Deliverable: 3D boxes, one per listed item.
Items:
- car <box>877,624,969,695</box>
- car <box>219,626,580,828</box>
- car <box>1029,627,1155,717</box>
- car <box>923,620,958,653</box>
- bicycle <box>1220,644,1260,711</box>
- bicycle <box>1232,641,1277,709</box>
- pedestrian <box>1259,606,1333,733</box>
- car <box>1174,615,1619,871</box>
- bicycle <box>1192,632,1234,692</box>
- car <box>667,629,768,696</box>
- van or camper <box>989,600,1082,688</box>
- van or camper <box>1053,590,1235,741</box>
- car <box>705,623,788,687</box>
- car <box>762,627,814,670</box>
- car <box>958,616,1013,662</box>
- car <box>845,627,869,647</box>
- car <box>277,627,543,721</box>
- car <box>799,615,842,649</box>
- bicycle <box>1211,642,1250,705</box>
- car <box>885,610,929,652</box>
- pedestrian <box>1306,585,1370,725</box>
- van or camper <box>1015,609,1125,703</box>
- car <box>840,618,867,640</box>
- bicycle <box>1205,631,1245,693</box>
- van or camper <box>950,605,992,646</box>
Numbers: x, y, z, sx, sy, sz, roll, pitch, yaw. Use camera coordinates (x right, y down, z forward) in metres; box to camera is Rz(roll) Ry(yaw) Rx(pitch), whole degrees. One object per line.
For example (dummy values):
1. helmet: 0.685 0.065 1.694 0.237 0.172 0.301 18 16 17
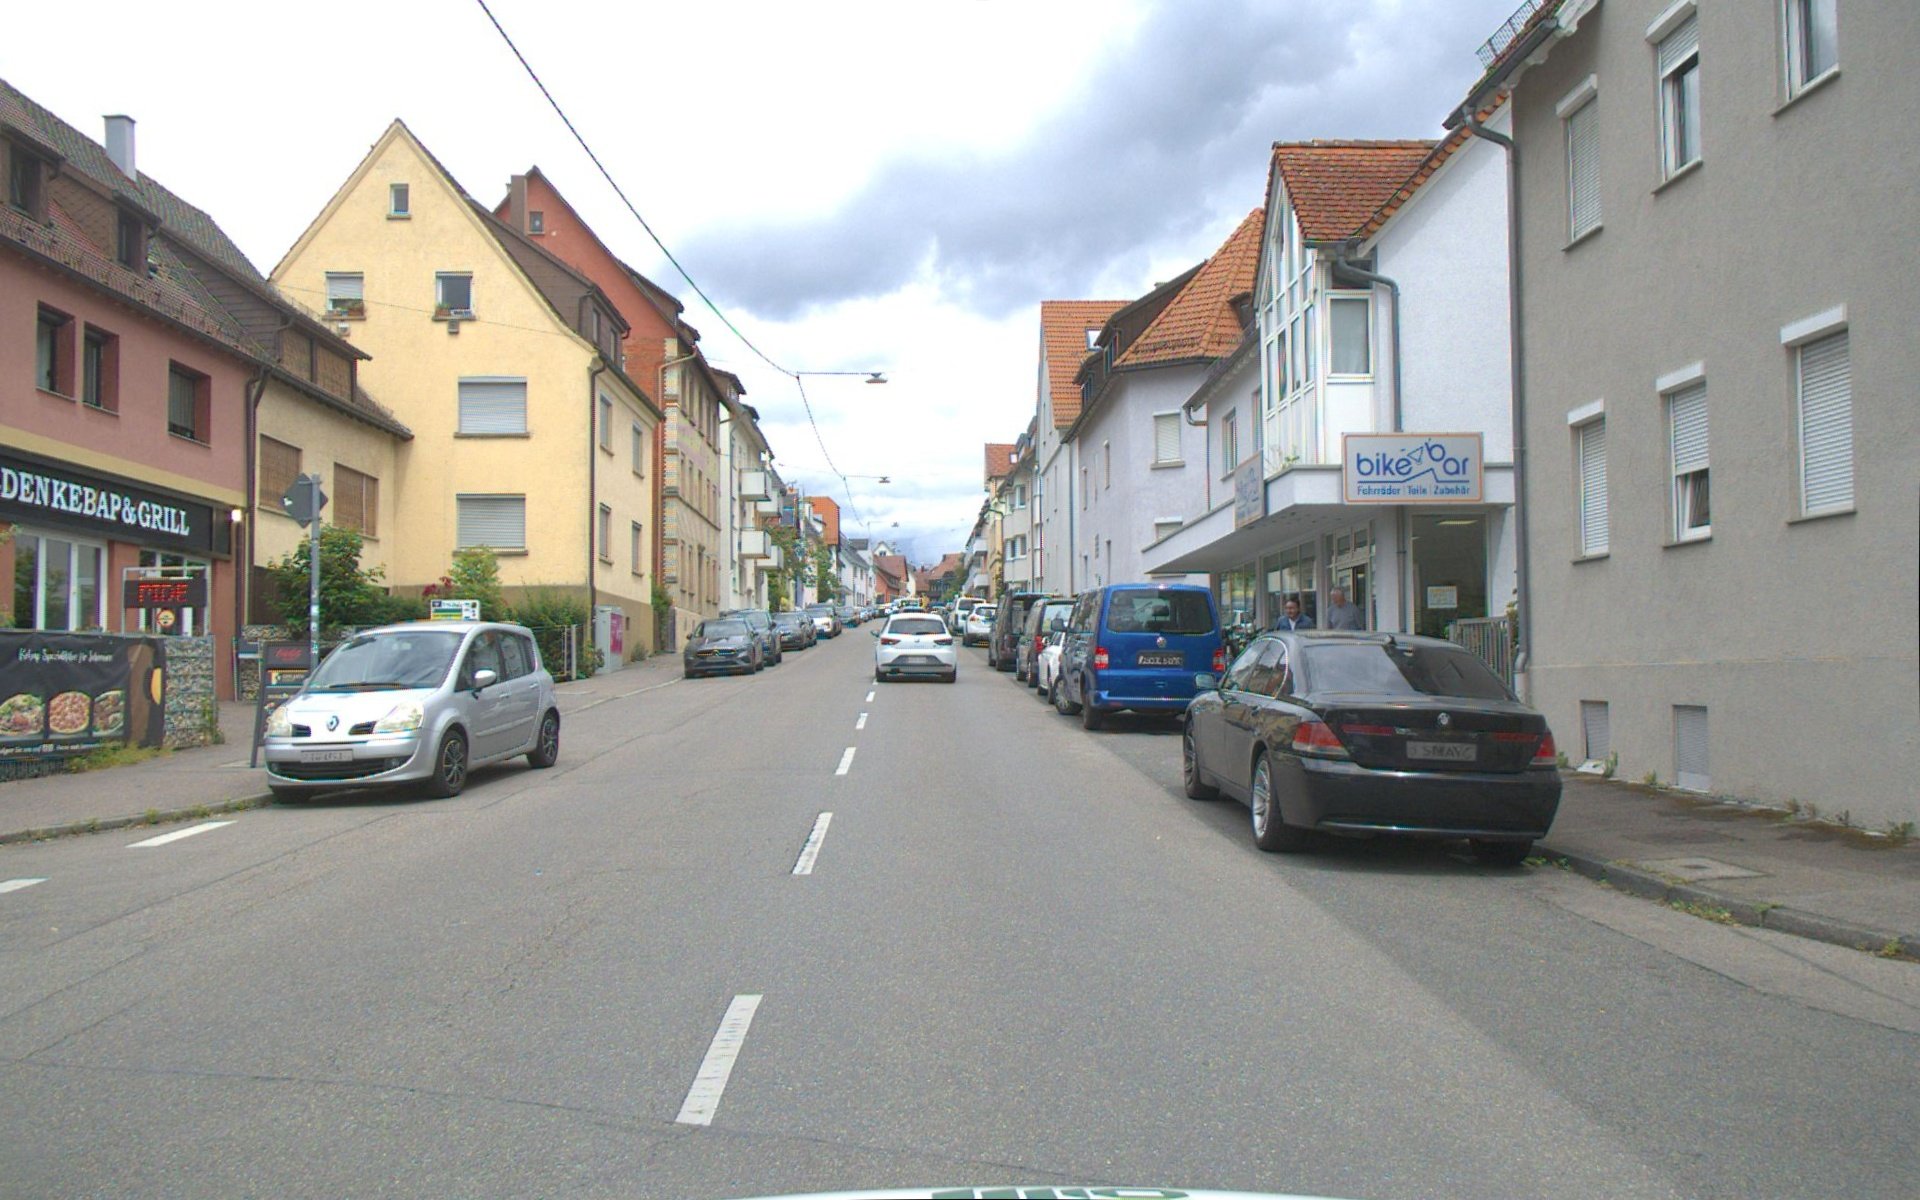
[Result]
1. car: -0.849 1.262 36.305 1.902 1.464 3.998 0 -1 -3
2. car: -5.286 1.127 16.210 1.795 1.605 4.033 -4 -1 5
3. car: 2.292 1.233 29.805 1.680 1.461 4.636 1 -1 -2
4. car: -1.245 2.288 104.405 1.954 2.049 3.996 -1 -1 -5
5. bicycle: 5.018 1.375 29.605 0.245 1.133 1.465 -2 -1 27
6. bicycle: 5.191 1.310 29.103 0.332 1.133 1.465 -2 -1 27
7. pedestrian: 4.756 0.970 23.427 0.855 1.755 0.618 -1 -2 33
8. car: 3.014 0.936 12.642 1.953 1.544 4.889 1 -1 -2
9. bicycle: 5.033 1.218 32.853 0.291 1.133 1.574 -2 -1 27
10. car: -6.208 1.565 42.753 1.953 1.498 4.242 -4 -1 -1
11. van or camper: 1.908 1.113 43.491 1.953 2.102 5.942 2 -1 -2
12. van or camper: 2.528 0.888 23.906 1.888 1.959 4.828 0 -1 -3
13. car: -6.253 1.590 48.905 1.954 1.679 4.551 -4 -1 -3
14. car: -6.651 1.861 64.277 1.609 1.499 4.177 -3 -1 -2
15. car: 0.978 1.529 65.633 1.902 1.723 3.997 2 -1 -3
16. car: -9.057 3.273 145.731 1.953 1.680 4.177 -1 -1 -2
17. car: -9.904 1.361 30.033 4.144 1.498 1.999 -2 -4 -1
18. car: -7.129 1.615 84.804 1.953 1.680 3.998 -1 -1 -2
19. bicycle: 5.169 1.391 31.570 0.245 1.133 1.465 -2 -1 27
20. car: -2.697 1.563 83.207 2.109 2.049 3.997 1 -1 -3
21. pedestrian: 5.644 0.811 24.691 0.746 2.049 0.618 -1 -2 33
22. van or camper: 2.312 1.178 35.813 1.833 1.861 4.677 1 -1 -3
23. car: -8.263 2.217 128.267 1.953 1.680 4.177 -1 -1 -2
24. bicycle: 5.195 1.206 32.394 0.245 1.180 1.464 -2 -2 30
25. van or camper: 0.571 1.355 87.787 1.902 2.091 4.559 0 -1 -4
